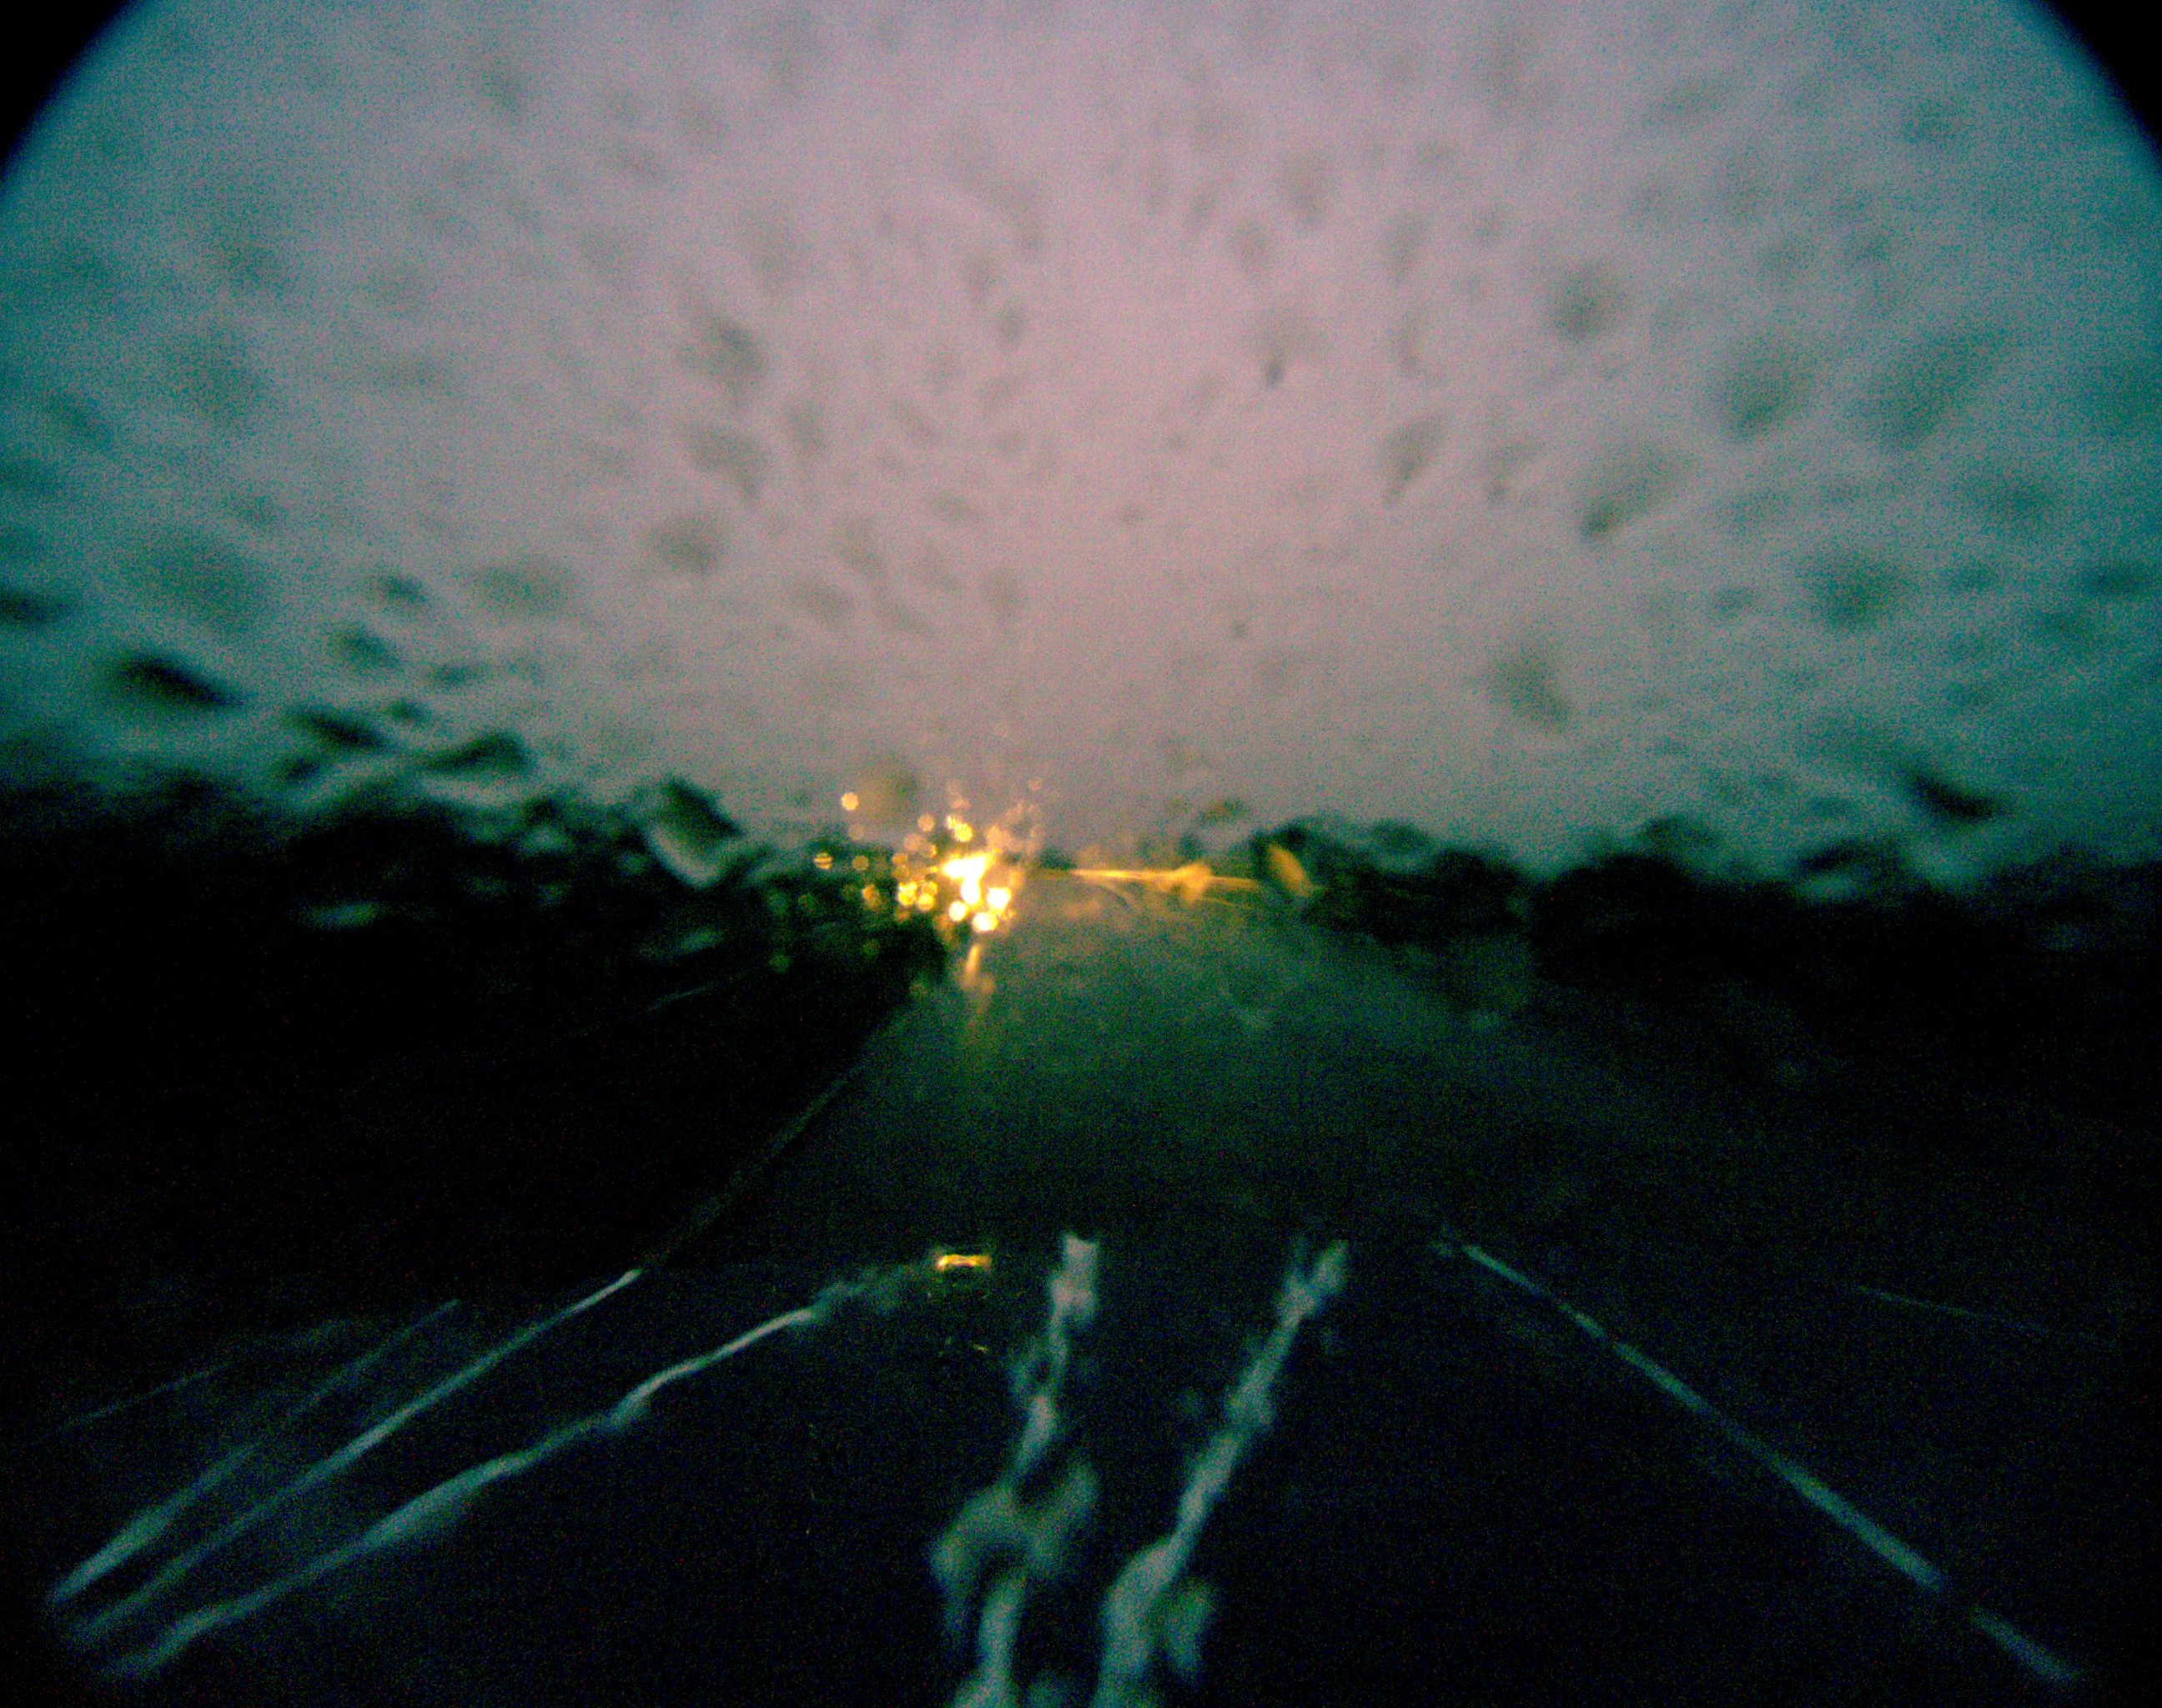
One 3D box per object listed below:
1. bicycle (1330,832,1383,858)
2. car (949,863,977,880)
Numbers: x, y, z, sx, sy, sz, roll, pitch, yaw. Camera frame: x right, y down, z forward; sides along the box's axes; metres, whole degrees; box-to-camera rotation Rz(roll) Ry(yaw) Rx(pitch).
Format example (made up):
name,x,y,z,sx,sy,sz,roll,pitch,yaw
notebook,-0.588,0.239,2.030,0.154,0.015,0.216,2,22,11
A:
name,x,y,z,sx,sy,sz,roll,pitch,yaw
bicycle,22.268,-0.707,61.516,2.001,2.002,3.994,-2,1,-17
car,-11.530,1.682,73.812,2.105,1.565,4.793,1,-1,-16
